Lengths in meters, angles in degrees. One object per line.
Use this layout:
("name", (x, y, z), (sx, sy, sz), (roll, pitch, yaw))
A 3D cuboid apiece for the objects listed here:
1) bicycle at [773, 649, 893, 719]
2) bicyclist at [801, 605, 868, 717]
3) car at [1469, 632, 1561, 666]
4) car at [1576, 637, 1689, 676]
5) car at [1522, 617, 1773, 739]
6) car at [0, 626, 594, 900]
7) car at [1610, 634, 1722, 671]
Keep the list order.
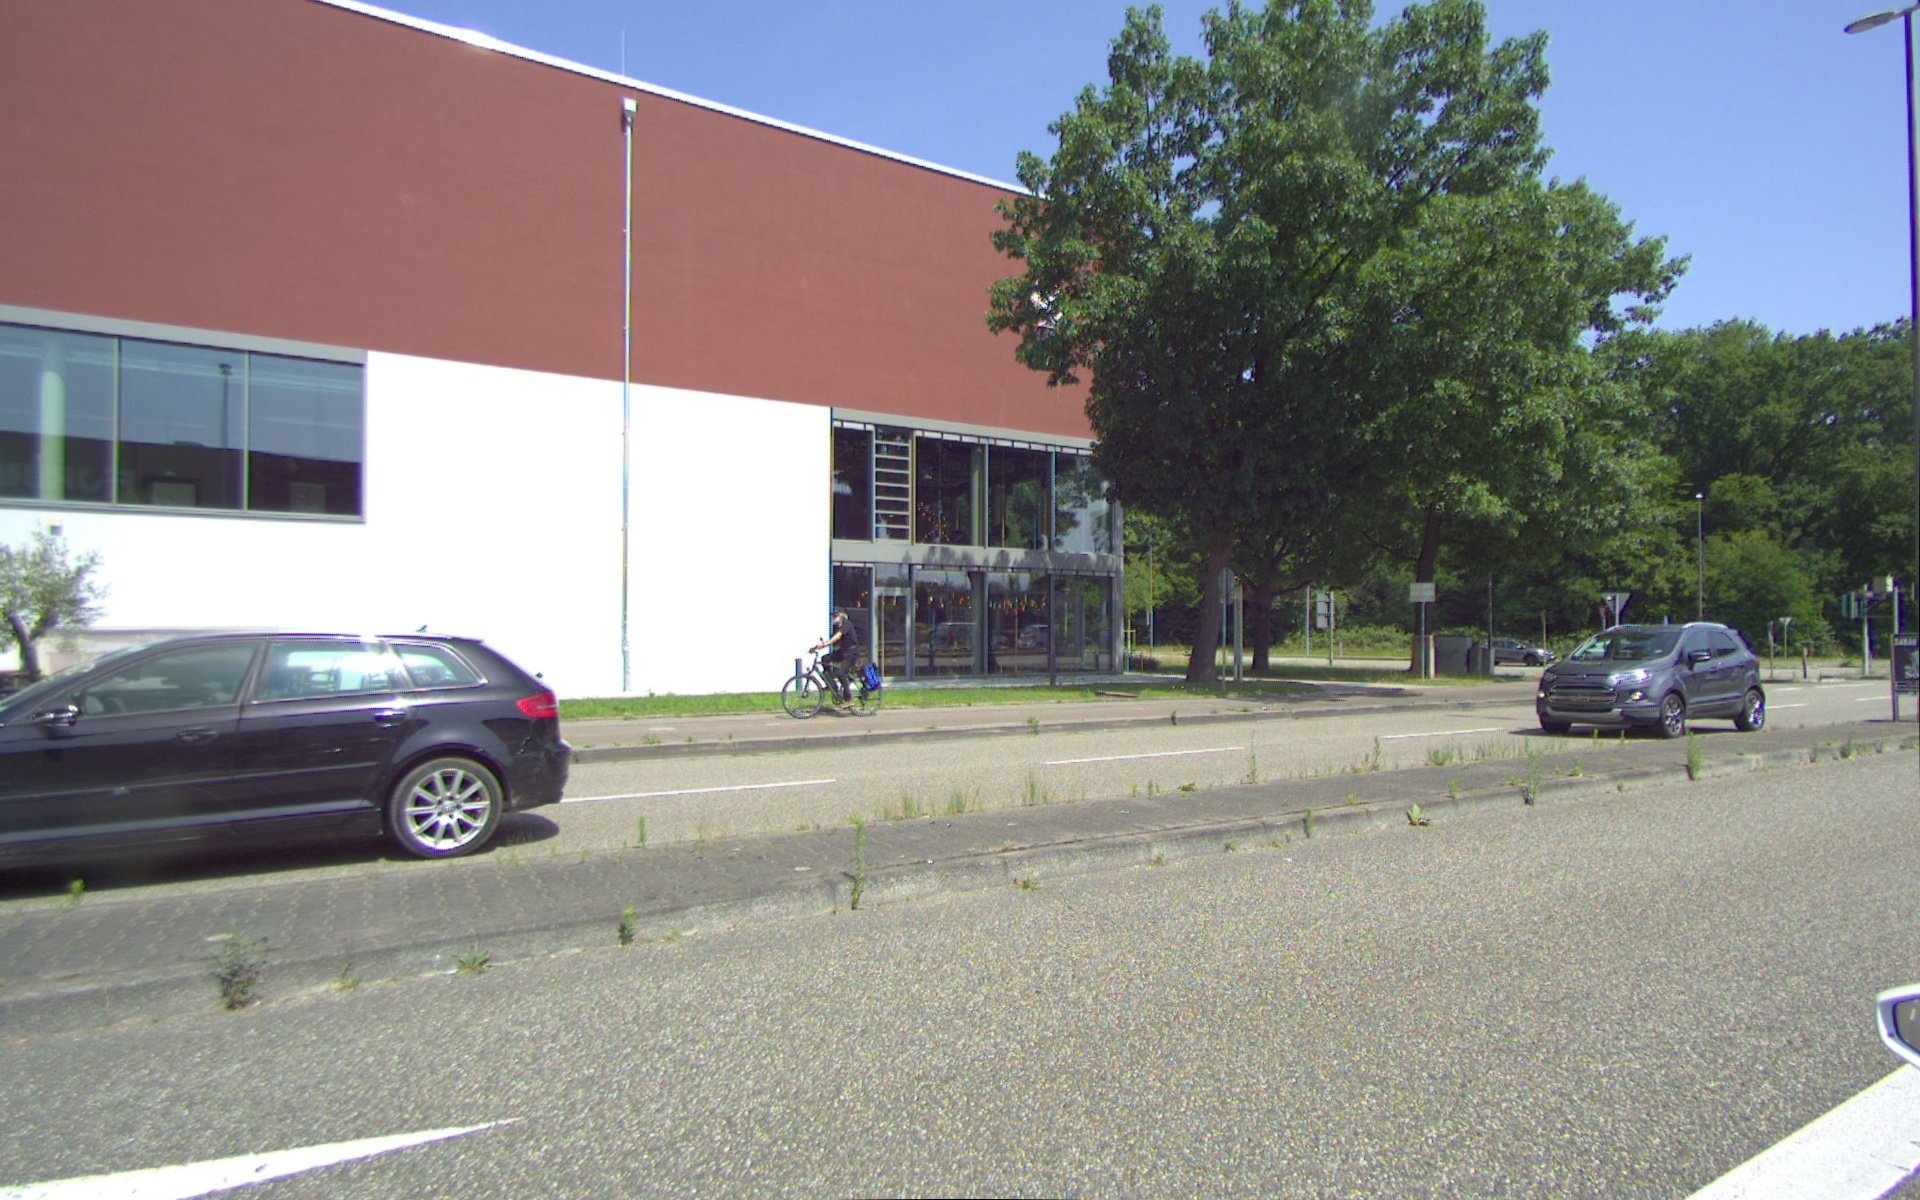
("bicycle", (-2.075, 1.361, 16.549), (1.862, 1.065, 0.652), (1, -1, -31))
("bicyclist", (-2.069, 0.990, 16.554), (0.917, 1.793, 0.646), (1, -1, -30))
("car", (32.204, 2.838, 58.347), (1.796, 1.704, 4.332), (2, 0, -41))
("car", (33.422, 2.768, 50.001), (1.794, 1.704, 4.338), (2, 0, -37))
("car", (10.386, 1.133, 15.127), (3.842, 1.621, 1.678), (1, -4, -32))
("car", (-4.490, 0.883, 6.196), (3.956, 1.356, 1.670), (1, -4, -32))
("car", (36.570, 2.741, 52.106), (1.794, 1.703, 4.340), (2, -5, -37))
